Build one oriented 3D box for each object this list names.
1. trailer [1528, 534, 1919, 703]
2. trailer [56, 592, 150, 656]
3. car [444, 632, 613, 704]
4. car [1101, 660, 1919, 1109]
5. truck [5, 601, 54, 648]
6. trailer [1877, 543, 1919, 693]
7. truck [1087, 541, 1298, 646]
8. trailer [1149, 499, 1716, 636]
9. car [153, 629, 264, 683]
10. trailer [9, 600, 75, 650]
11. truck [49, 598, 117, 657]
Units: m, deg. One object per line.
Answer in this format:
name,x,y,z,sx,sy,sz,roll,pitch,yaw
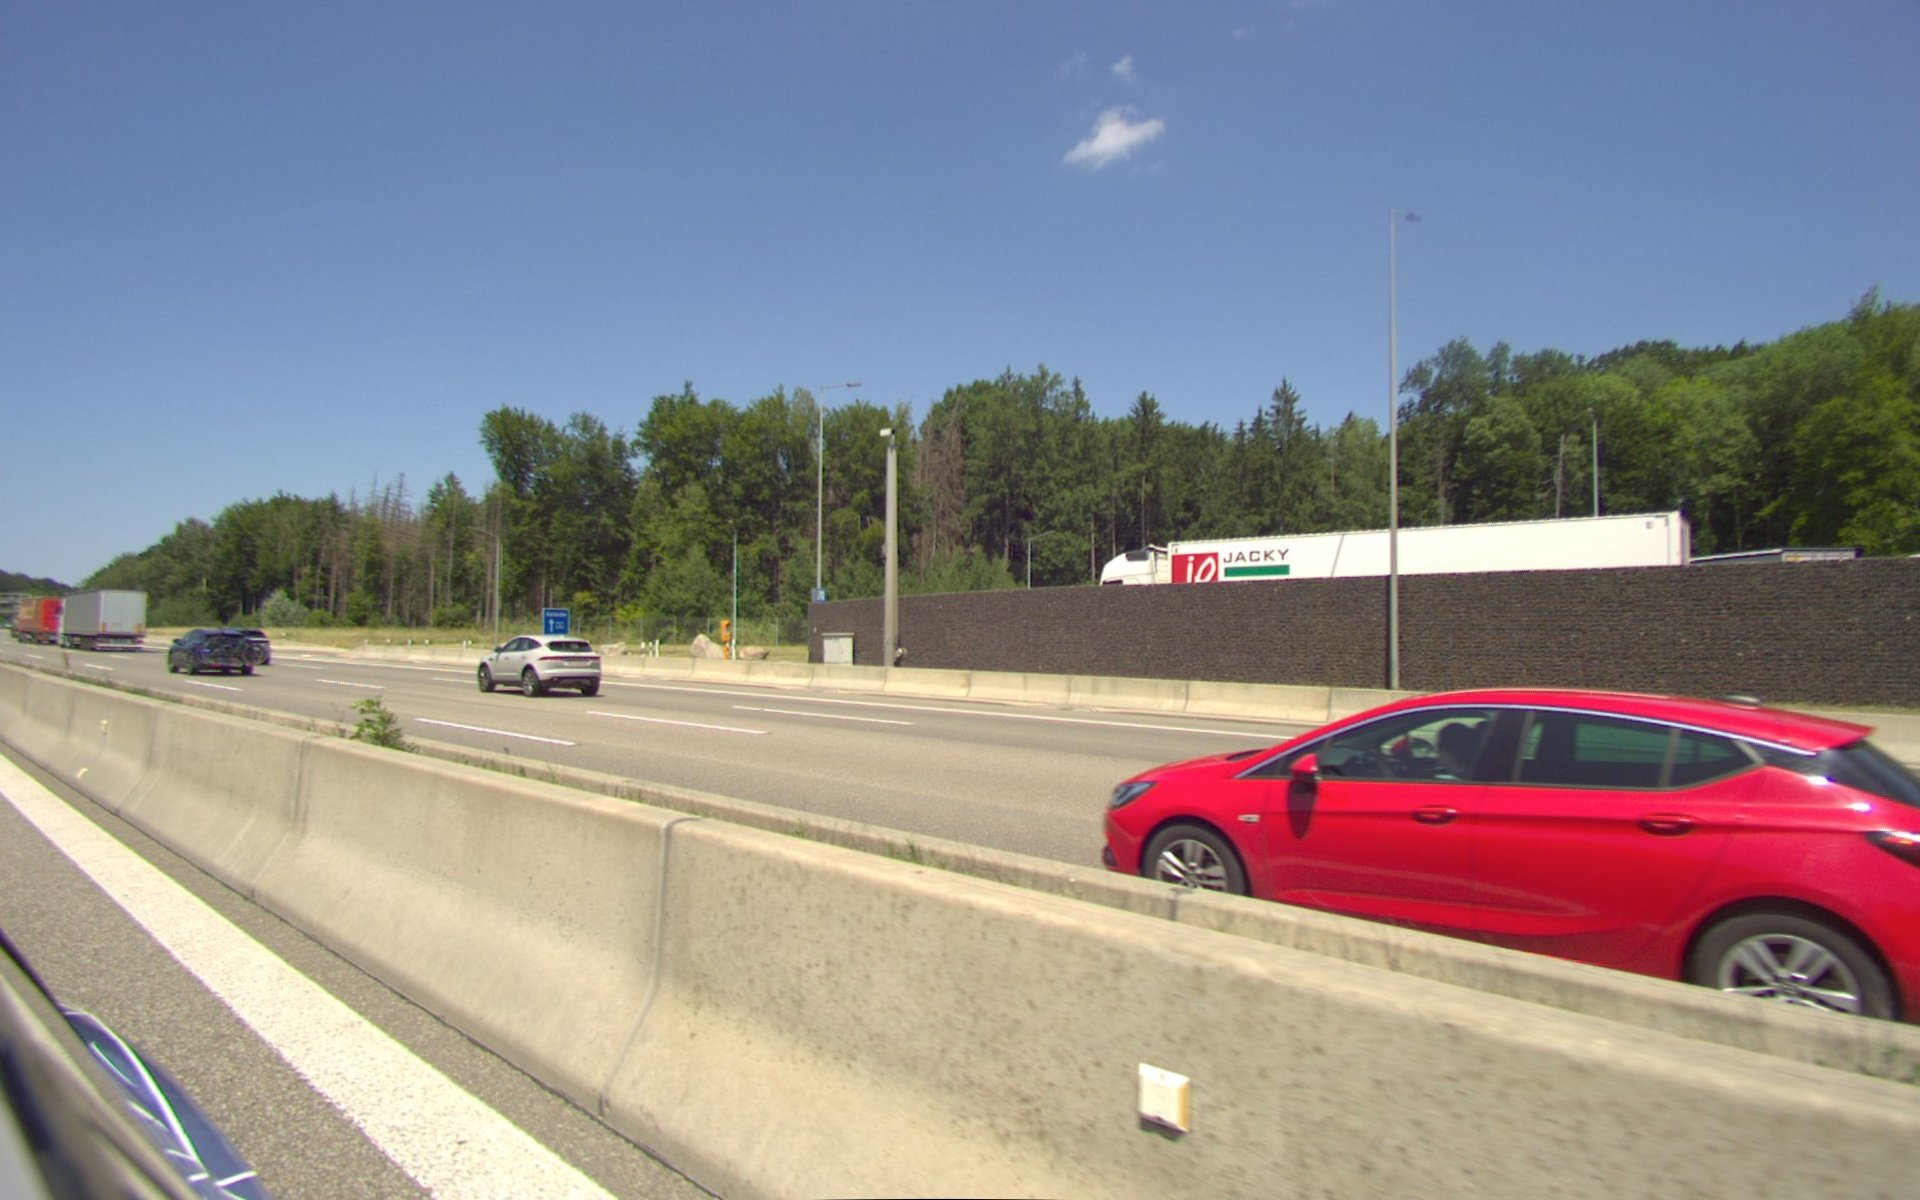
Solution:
trailer,27.475,0.807,37.912,3.175,5.111,14.580,0,-2,-4
trailer,-59.053,1.713,69.522,14.460,4.032,2.725,-1,-3,41
car,-12.146,1.815,28.270,5.921,1.787,1.972,-1,-3,41
car,3.294,1.131,5.030,5.042,1.525,1.712,-1,-3,41
truck,-85.129,2.270,92.571,6.469,4.080,2.501,-1,-3,41
trailer,38.020,0.576,34.825,3.179,5.656,9.949,0,-2,-5
truck,7.564,-0.112,33.392,6.200,3.148,2.896,-1,-3,41
trailer,12.553,-0.600,29.150,14.603,3.148,2.941,-1,-3,41
car,-26.963,1.935,36.235,5.921,1.787,1.972,-1,-3,41
trailer,-80.029,2.194,88.105,14.175,4.081,2.544,-1,-3,41
truck,-63.843,2.025,73.645,6.778,4.062,2.706,-1,-3,41
